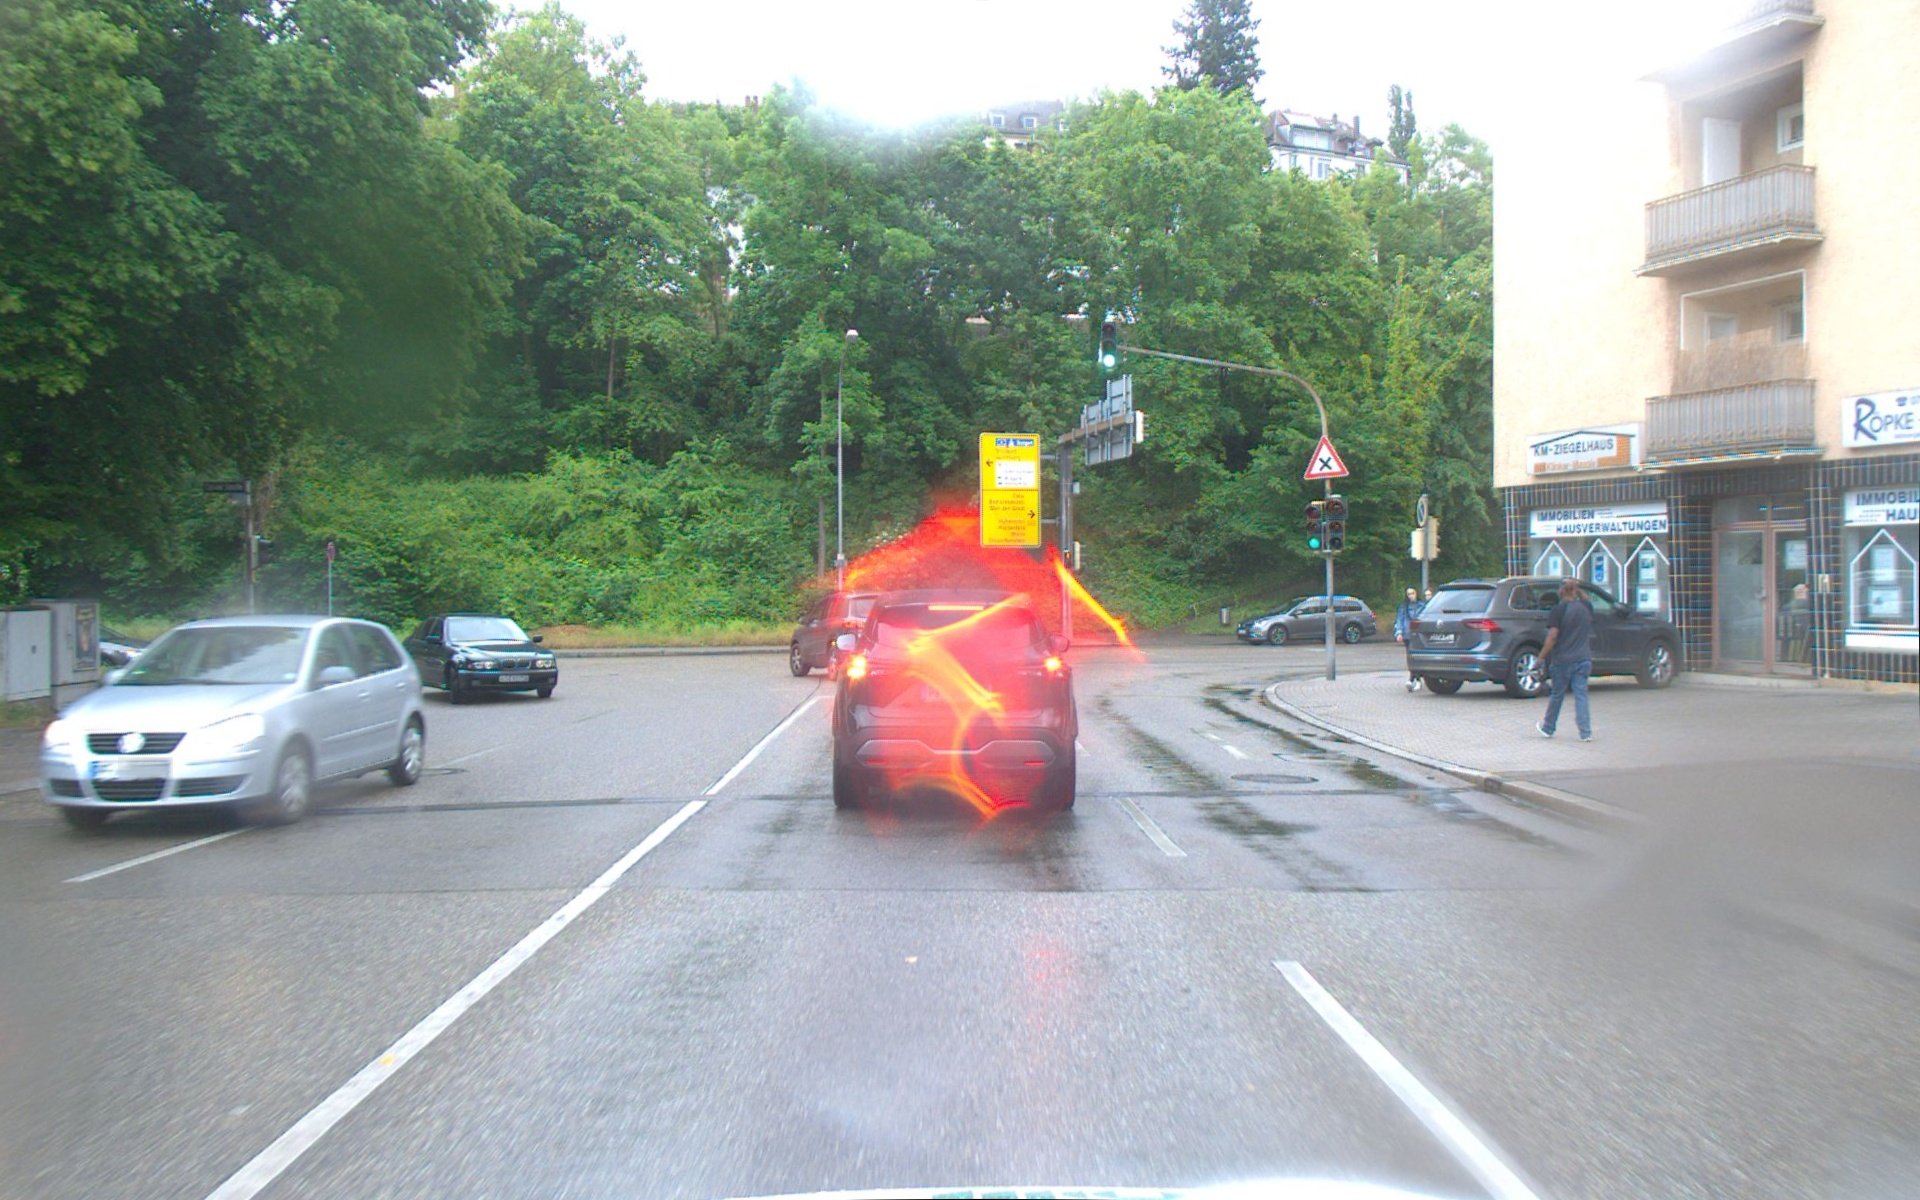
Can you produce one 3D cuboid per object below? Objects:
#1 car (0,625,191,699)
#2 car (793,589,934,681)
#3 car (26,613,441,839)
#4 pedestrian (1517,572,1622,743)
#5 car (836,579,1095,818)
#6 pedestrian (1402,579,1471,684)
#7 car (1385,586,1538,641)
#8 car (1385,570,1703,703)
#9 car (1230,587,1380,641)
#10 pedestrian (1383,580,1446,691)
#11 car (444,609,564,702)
[{"bbox_3d":[-19.110,1.327,35.751,4.105,1.475,1.817,-1,0,2],"label":"car"},{"bbox_3d":[-1.961,0.645,32.505,1.783,1.631,3.979,1,1,-18],"label":"car"},{"bbox_3d":[-5.402,0.852,12.832,1.593,1.444,3.685,-1,0,0],"label":"car"},{"bbox_3d":[6.326,0.580,17.203,0.745,1.706,0.781,-2,1,-1],"label":"pedestrian"},{"bbox_3d":[0.000,0.681,13.373,1.774,1.631,3.999,0,0,-1],"label":"car"},{"bbox_3d":[7.594,0.493,26.356,0.750,1.602,0.776,-1,1,43],"label":"pedestrian"},{"bbox_3d":[15.046,0.385,49.675,4.074,1.589,1.802,-1,0,-16],"label":"car"},{"bbox_3d":[8.461,0.481,23.921,4.315,1.678,1.867,-2,0,-27],"label":"car"},{"bbox_3d":[10.910,0.425,52.361,4.249,1.528,1.877,-2,0,-13],"label":"car"},{"bbox_3d":[6.900,0.532,25.119,0.644,1.628,0.795,-2,0,-4],"label":"pedestrian"},{"bbox_3d":[-8.131,0.930,29.242,1.703,1.485,4.402,-1,0,-20],"label":"car"}]
